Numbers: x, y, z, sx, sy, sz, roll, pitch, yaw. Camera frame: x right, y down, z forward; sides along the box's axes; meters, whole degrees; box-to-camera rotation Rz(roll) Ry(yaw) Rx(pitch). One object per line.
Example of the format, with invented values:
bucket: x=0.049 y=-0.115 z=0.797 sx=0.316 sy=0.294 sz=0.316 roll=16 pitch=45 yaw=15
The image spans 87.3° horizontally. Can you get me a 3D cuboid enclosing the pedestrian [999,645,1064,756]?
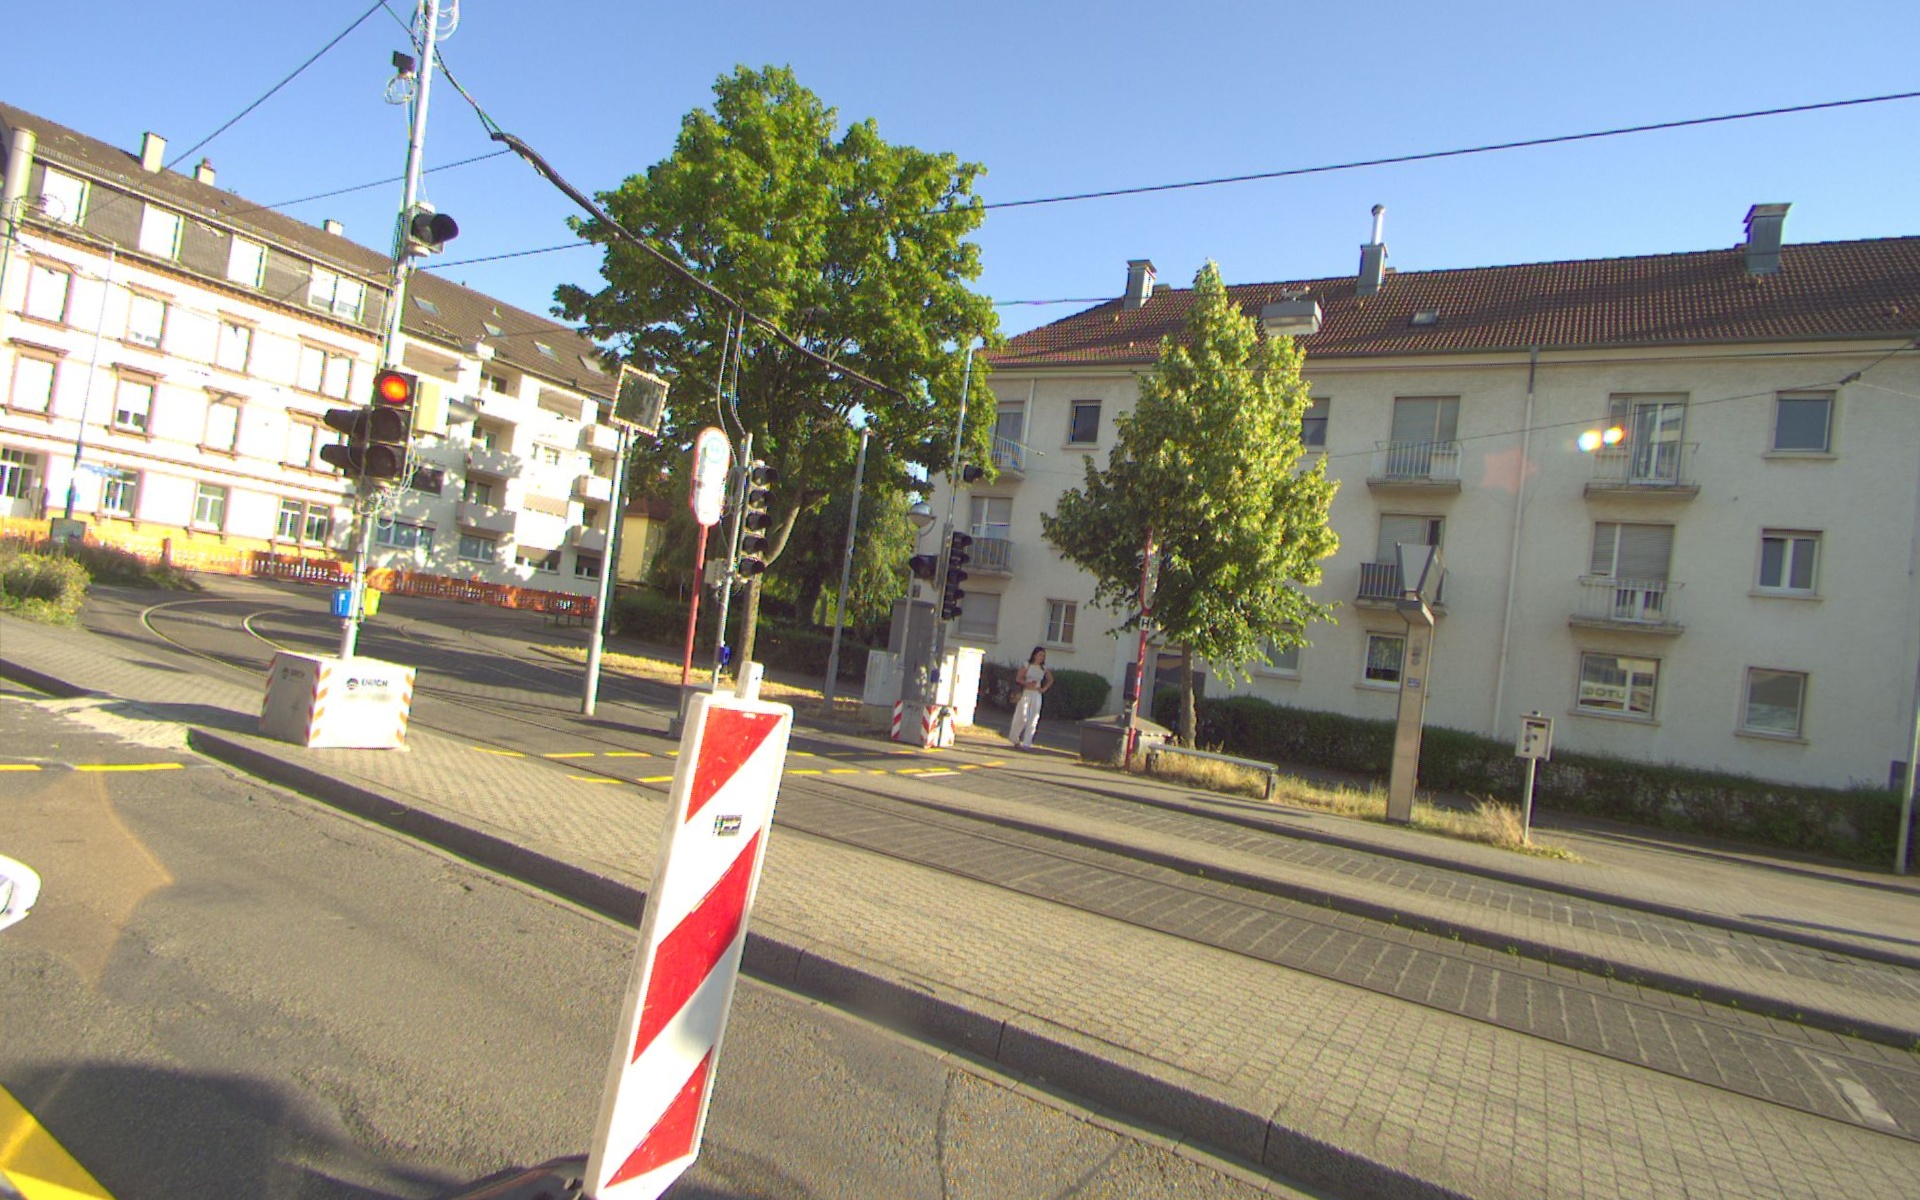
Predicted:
pedestrian: x=1.141 y=1.595 z=16.138 sx=0.811 sy=1.639 sz=0.792 roll=7 pitch=-1 yaw=4
